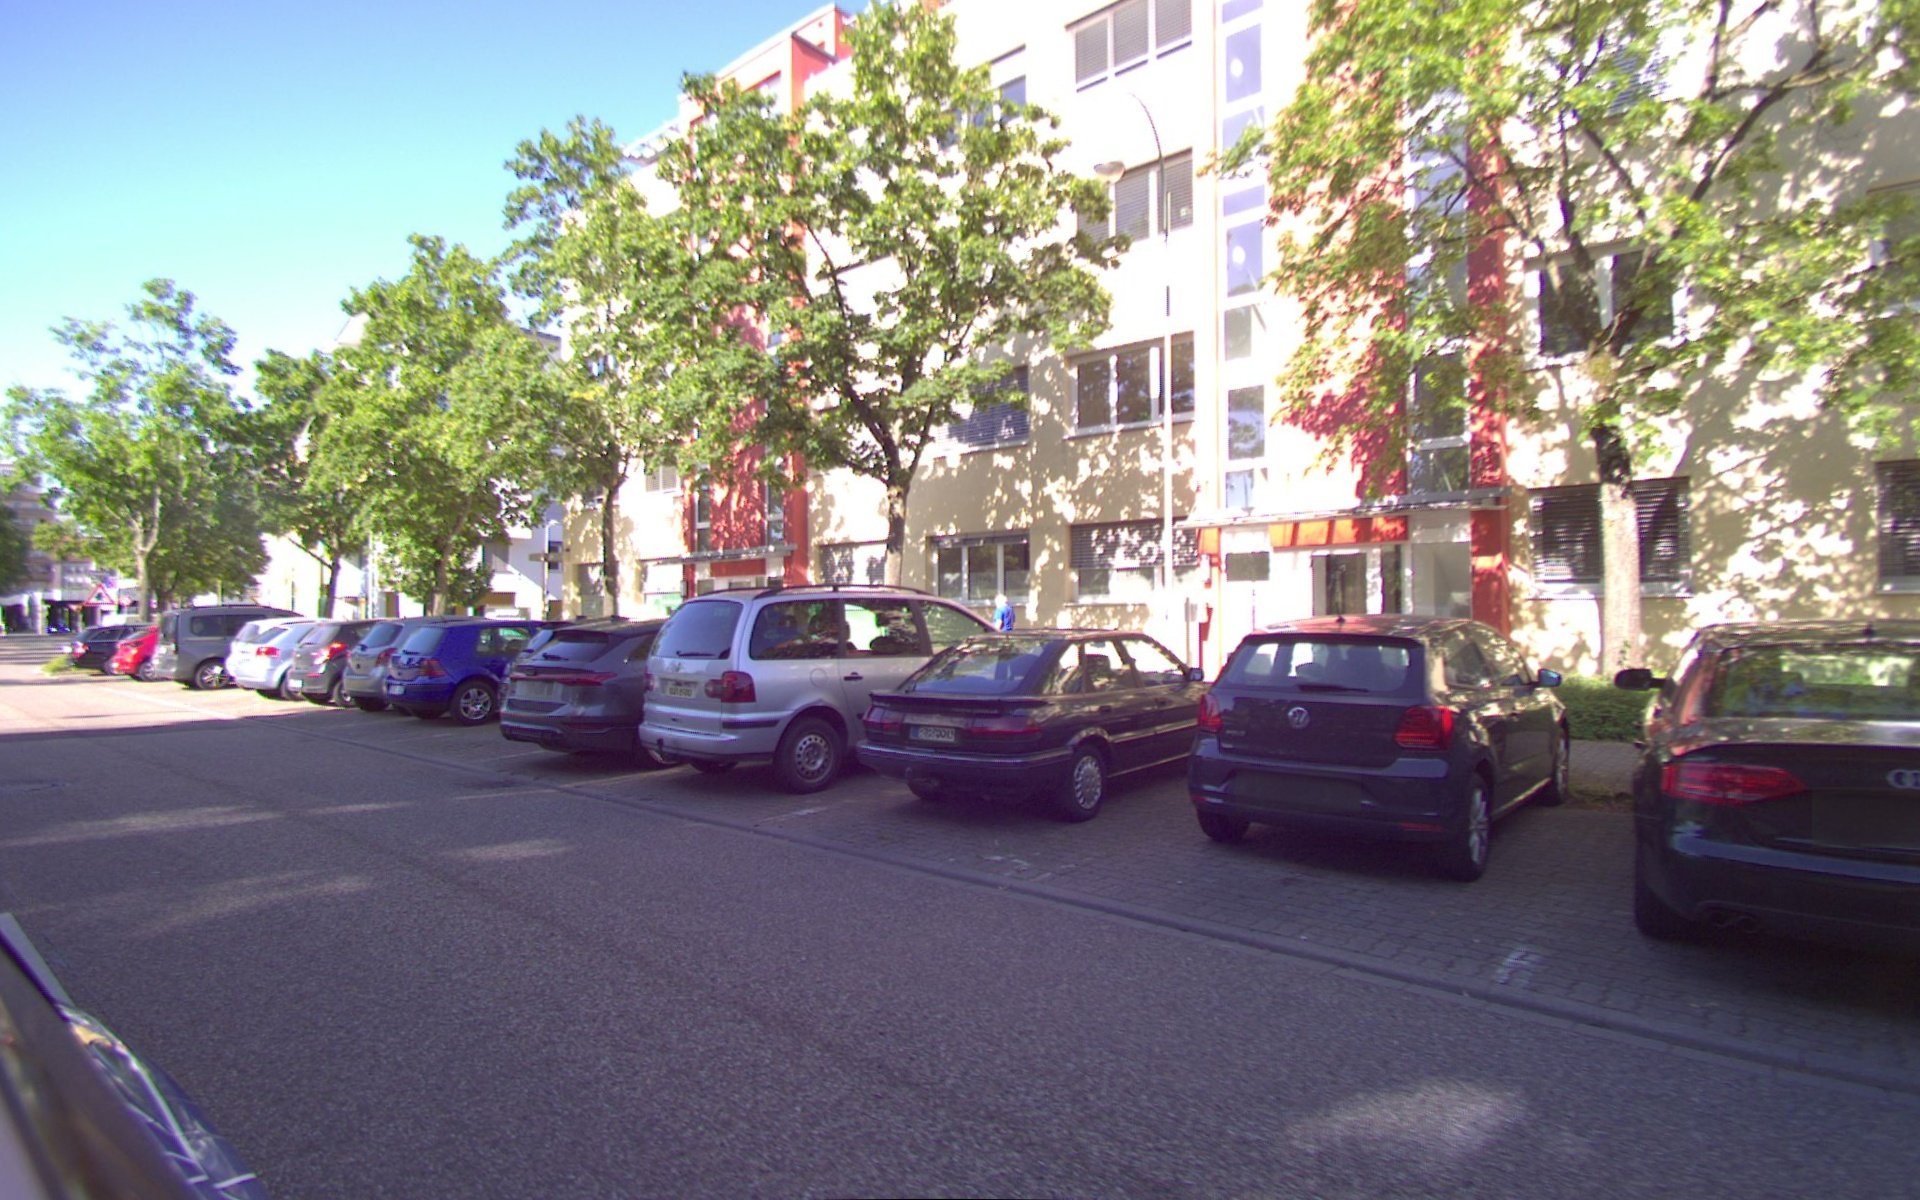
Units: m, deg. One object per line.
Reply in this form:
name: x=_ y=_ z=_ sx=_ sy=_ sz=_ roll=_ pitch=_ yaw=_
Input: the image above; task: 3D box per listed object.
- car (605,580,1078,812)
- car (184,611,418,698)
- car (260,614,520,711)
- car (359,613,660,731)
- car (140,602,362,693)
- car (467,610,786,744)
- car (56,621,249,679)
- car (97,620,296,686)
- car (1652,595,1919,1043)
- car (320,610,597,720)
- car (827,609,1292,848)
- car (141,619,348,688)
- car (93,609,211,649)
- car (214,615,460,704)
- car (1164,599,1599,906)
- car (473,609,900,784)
car: x=-0.979 y=0.718 z=9.902 sx=4.271 sy=1.730 sz=1.964 roll=-2 pitch=0 yaw=-44
car: x=-14.089 y=1.092 z=21.785 sx=1.858 sy=1.586 sz=3.851 roll=-1 pitch=0 yaw=41
car: x=-10.292 y=1.056 z=18.479 sx=1.857 sy=1.458 sz=3.692 roll=-1 pitch=0 yaw=37
car: x=-6.633 y=0.974 z=15.186 sx=1.839 sy=1.438 sz=3.689 roll=-1 pitch=0 yaw=40
car: x=-16.171 y=1.012 z=23.220 sx=1.785 sy=1.825 sz=3.851 roll=-2 pitch=0 yaw=41
car: x=-4.345 y=0.914 z=13.581 sx=1.771 sy=1.438 sz=3.689 roll=-1 pitch=0 yaw=40
car: x=-23.422 y=1.390 z=29.464 sx=1.740 sy=1.434 sz=4.215 roll=-1 pitch=0 yaw=44
car: x=-19.759 y=1.313 z=26.298 sx=1.738 sy=1.434 sz=3.851 roll=-1 pitch=0 yaw=41
car: x=4.371 y=0.731 z=4.821 sx=1.721 sy=1.438 sz=3.694 roll=-1 pitch=0 yaw=35
car: x=-8.226 y=0.984 z=16.826 sx=1.858 sy=1.520 sz=3.689 roll=-1 pitch=0 yaw=40
car: x=1.077 y=0.825 z=8.462 sx=1.756 sy=1.368 sz=4.277 roll=-1 pitch=0 yaw=40
car: x=-17.549 y=1.250 z=24.939 sx=1.738 sy=1.434 sz=3.851 roll=-1 pitch=0 yaw=41
car: x=-43.983 y=1.540 z=55.248 sx=1.983 sy=2.000 sz=4.743 roll=-2 pitch=-1 yaw=18
car: x=-12.129 y=1.089 z=19.870 sx=1.873 sy=1.458 sz=3.692 roll=-1 pitch=0 yaw=37
car: x=3.078 y=0.763 z=6.949 sx=1.724 sy=1.438 sz=3.689 roll=-1 pitch=0 yaw=40
car: x=-2.790 y=0.887 z=11.212 sx=1.771 sy=1.438 sz=4.360 roll=-1 pitch=0 yaw=39
